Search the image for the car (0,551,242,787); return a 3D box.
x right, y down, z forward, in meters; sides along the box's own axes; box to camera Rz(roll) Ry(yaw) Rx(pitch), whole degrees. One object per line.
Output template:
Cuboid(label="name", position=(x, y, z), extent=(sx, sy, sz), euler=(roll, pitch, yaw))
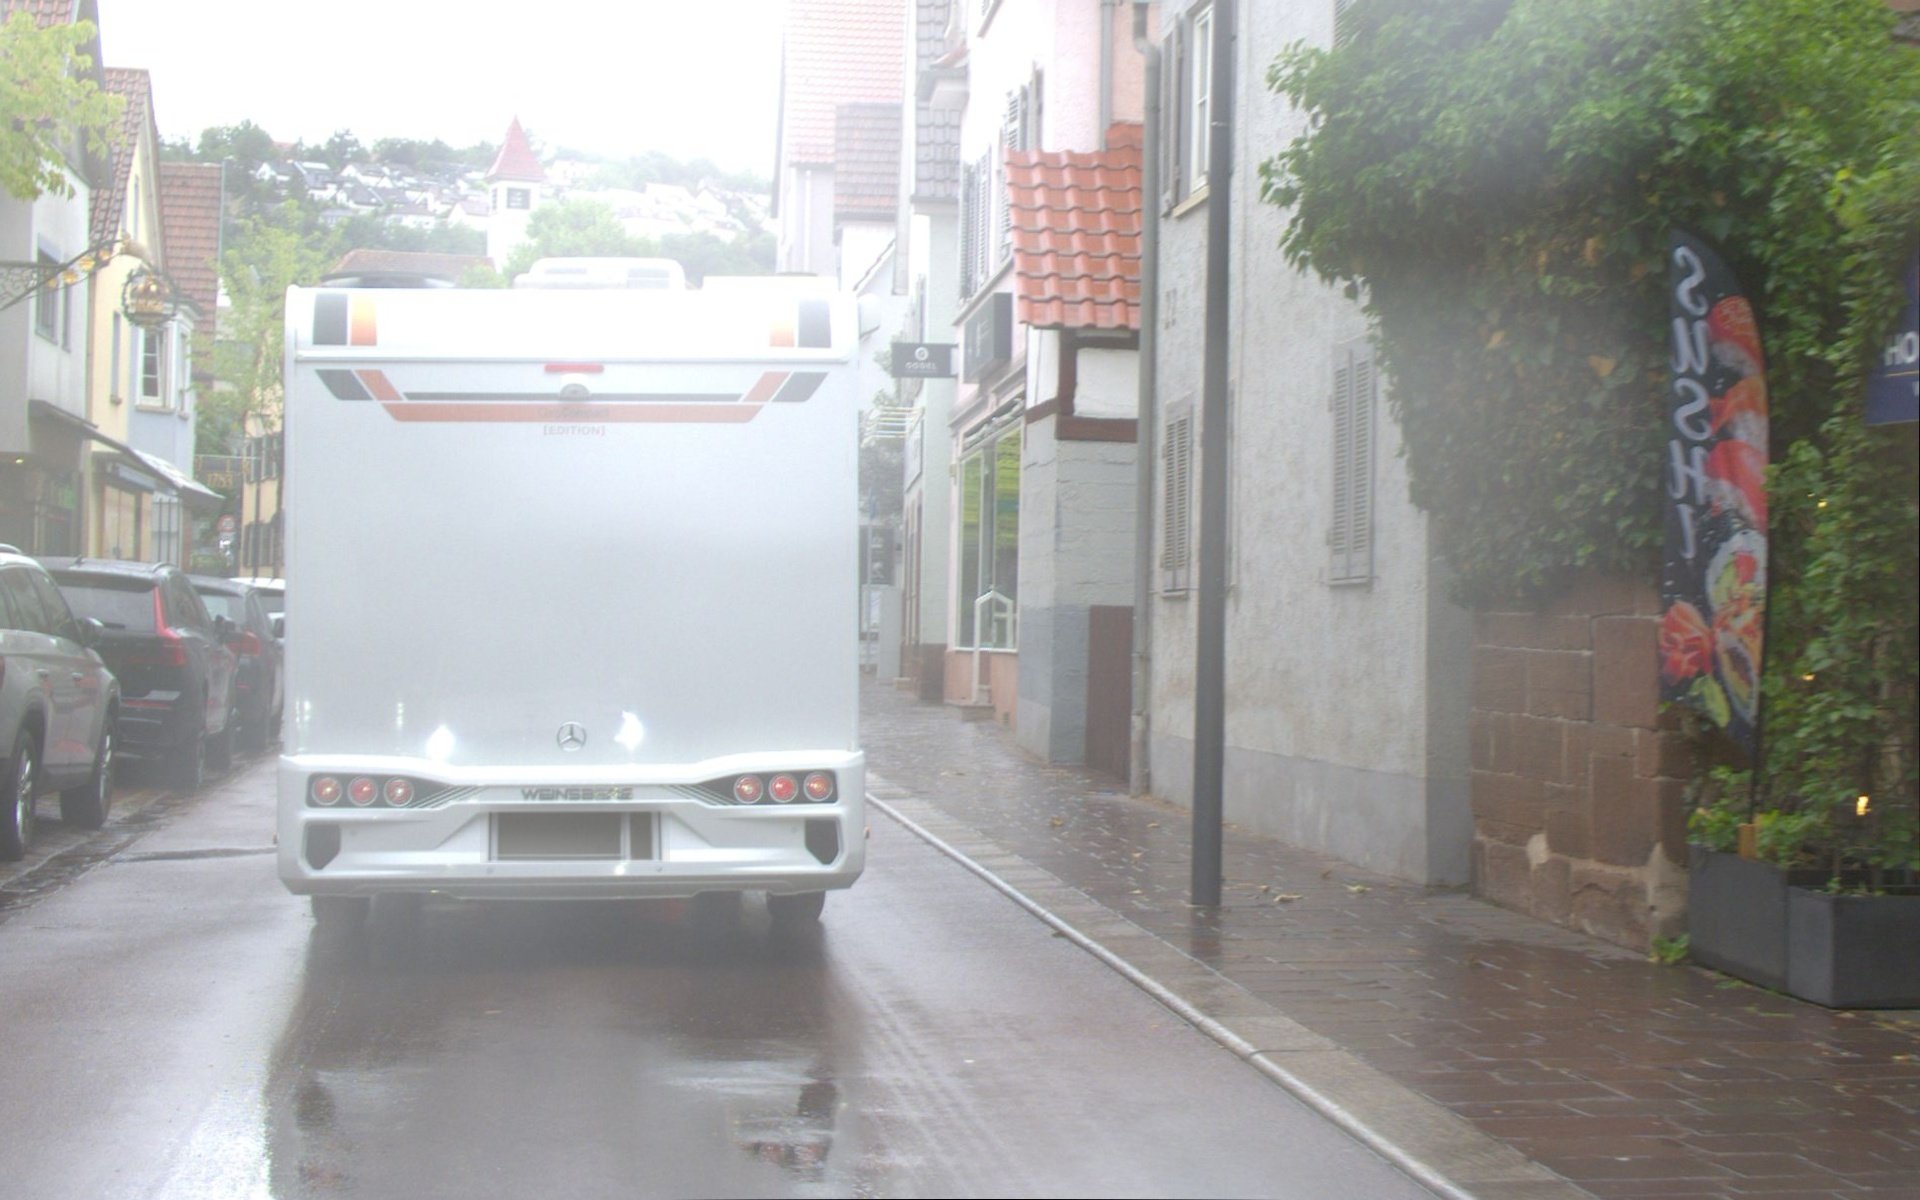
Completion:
Cuboid(label="car", position=(-6.655, 0.527, 26.553), extent=(1.833, 1.669, 4.541), euler=(0, -1, -7))

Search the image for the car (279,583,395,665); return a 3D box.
Cuboid(label="car", position=(-11.759, 0.437, 64.745), extent=(1.993, 1.467, 4.001), euler=(1, 0, -12))

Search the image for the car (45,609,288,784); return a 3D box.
Cuboid(label="car", position=(-7.456, 0.890, 32.630), extent=(1.833, 1.546, 4.282), euler=(0, -1, -7))

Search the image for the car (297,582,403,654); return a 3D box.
Cuboid(label="car", position=(-17.337, 0.534, 97.555), extent=(1.993, 2.007, 4.000), euler=(1, -1, -25))

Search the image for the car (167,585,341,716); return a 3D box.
Cuboid(label="car", position=(-8.828, 0.643, 43.237), extent=(1.826, 1.561, 4.000), euler=(0, -1, -7))

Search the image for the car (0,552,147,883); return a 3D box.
Cuboid(label="car", position=(-5.871, 0.603, 19.510), extent=(1.771, 1.669, 4.480), euler=(2, -1, -5))

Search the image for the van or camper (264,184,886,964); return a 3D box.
Cuboid(label="van or camper", position=(-1.957, -0.040, 16.153), extent=(2.325, 2.909, 6.394), euler=(0, -1, -9))
